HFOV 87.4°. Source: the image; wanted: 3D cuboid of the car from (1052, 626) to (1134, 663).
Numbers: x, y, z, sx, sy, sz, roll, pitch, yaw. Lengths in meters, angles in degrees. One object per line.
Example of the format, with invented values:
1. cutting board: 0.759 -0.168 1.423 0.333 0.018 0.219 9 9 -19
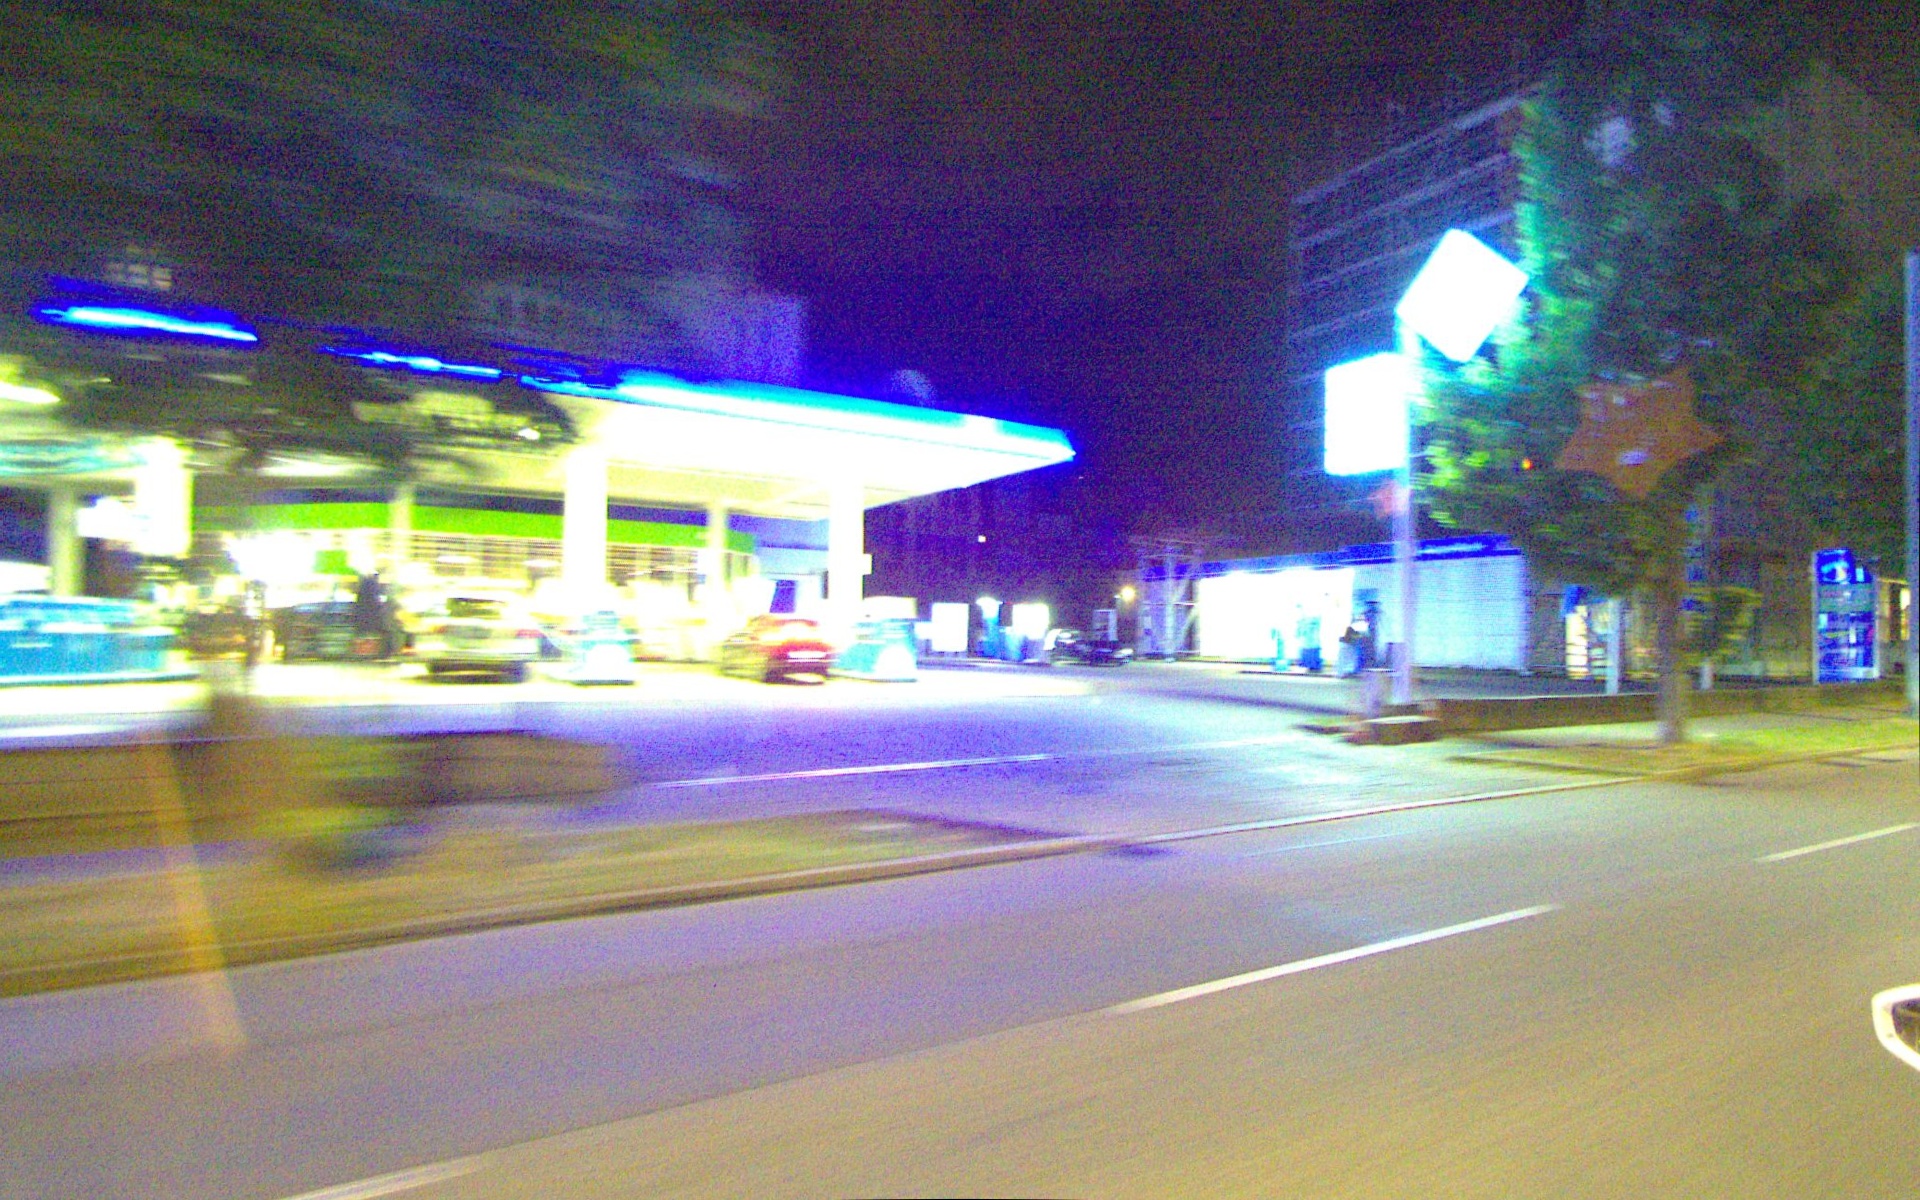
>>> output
1. car: 5.184 1.707 39.350 1.557 1.282 3.131 2 0 -31

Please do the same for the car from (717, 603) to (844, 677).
1. car: -4.178 0.859 22.967 1.651 1.553 3.731 2 -1 -31

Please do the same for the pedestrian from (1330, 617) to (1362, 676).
1. pedestrian: 10.863 1.305 28.265 0.636 1.627 0.572 2 -2 -32

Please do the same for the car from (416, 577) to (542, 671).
1. car: -10.092 0.476 20.909 1.956 1.750 4.324 2 -1 -31
